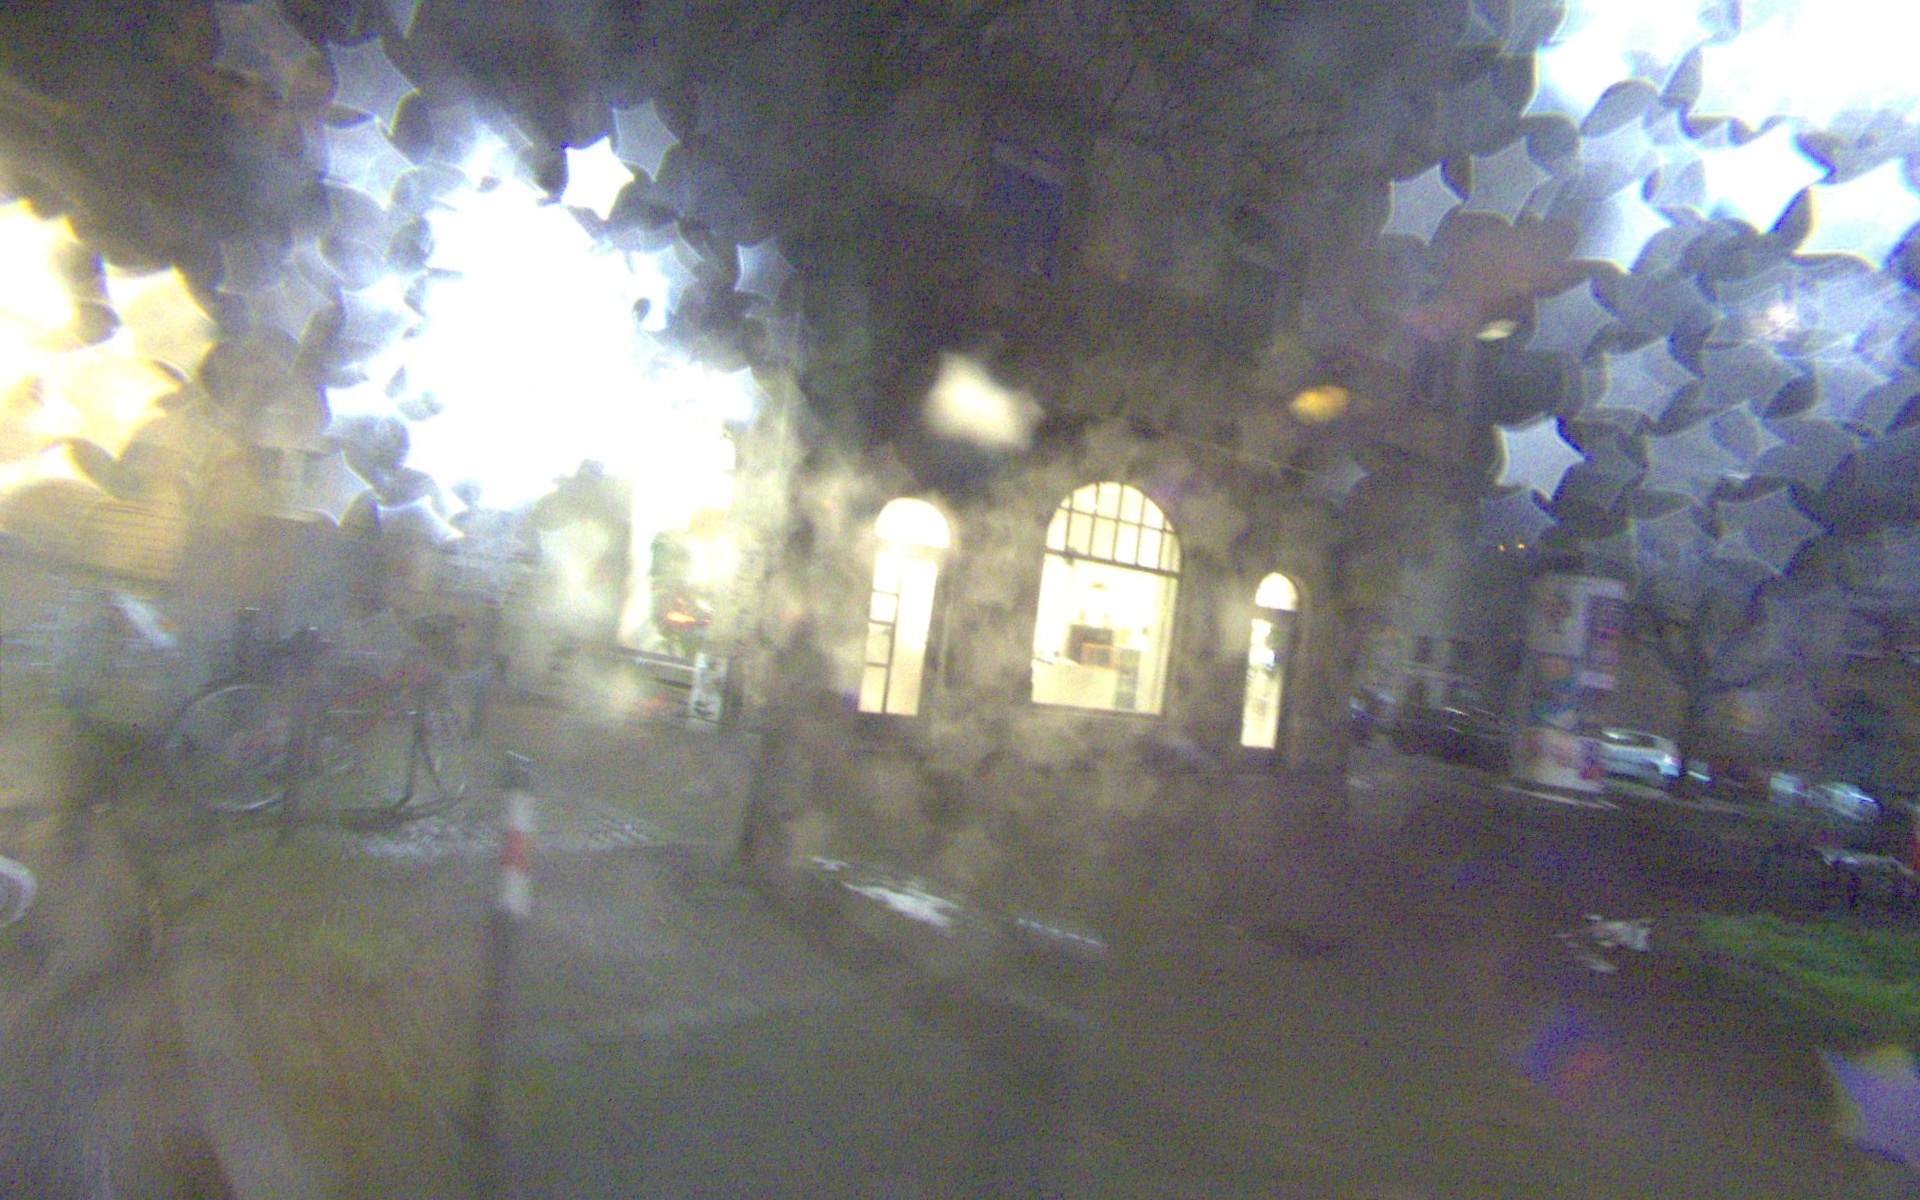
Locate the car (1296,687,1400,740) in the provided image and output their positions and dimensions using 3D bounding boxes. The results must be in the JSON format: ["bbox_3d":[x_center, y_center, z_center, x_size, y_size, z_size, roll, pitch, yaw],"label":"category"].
[{"bbox_3d":[14.651,4.261,38.128,1.591,1.474,3.395,8,-2,-26],"label":"car"}]

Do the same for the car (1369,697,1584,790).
[{"bbox_3d":[12.652,3.485,24.947,1.753,1.519,4.387,9,-2,-31],"label":"car"}]

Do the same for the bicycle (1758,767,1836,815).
[{"bbox_3d":[21.248,4.845,25.529,1.959,1.021,0.699,8,-3,-24],"label":"bicycle"}]

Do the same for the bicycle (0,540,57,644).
[{"bbox_3d":[-10.704,-0.154,10.526,0.443,1.072,1.734,7,-2,29],"label":"bicycle"}]

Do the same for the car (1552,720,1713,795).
[{"bbox_3d":[19.181,4.468,28.827,1.591,1.474,3.395,8,-2,-26],"label":"car"}]

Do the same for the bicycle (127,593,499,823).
[{"bbox_3d":[-3.549,0.600,5.700,0.443,1.072,1.662,7,-2,29],"label":"bicycle"}]

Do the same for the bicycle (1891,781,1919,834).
[{"bbox_3d":[22.394,4.831,23.248,1.959,1.128,0.505,8,-3,-24],"label":"bicycle"}]

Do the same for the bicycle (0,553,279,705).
[{"bbox_3d":[-6.583,0.279,8.139,0.443,1.072,1.662,7,-2,29],"label":"bicycle"}]

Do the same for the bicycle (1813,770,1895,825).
[{"bbox_3d":[21.736,4.814,24.458,1.959,1.128,0.699,8,-3,-24],"label":"bicycle"}]

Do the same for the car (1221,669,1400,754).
[{"bbox_3d":[10.185,3.229,29.646,1.982,1.763,4.658,9,-2,-31],"label":"car"}]
